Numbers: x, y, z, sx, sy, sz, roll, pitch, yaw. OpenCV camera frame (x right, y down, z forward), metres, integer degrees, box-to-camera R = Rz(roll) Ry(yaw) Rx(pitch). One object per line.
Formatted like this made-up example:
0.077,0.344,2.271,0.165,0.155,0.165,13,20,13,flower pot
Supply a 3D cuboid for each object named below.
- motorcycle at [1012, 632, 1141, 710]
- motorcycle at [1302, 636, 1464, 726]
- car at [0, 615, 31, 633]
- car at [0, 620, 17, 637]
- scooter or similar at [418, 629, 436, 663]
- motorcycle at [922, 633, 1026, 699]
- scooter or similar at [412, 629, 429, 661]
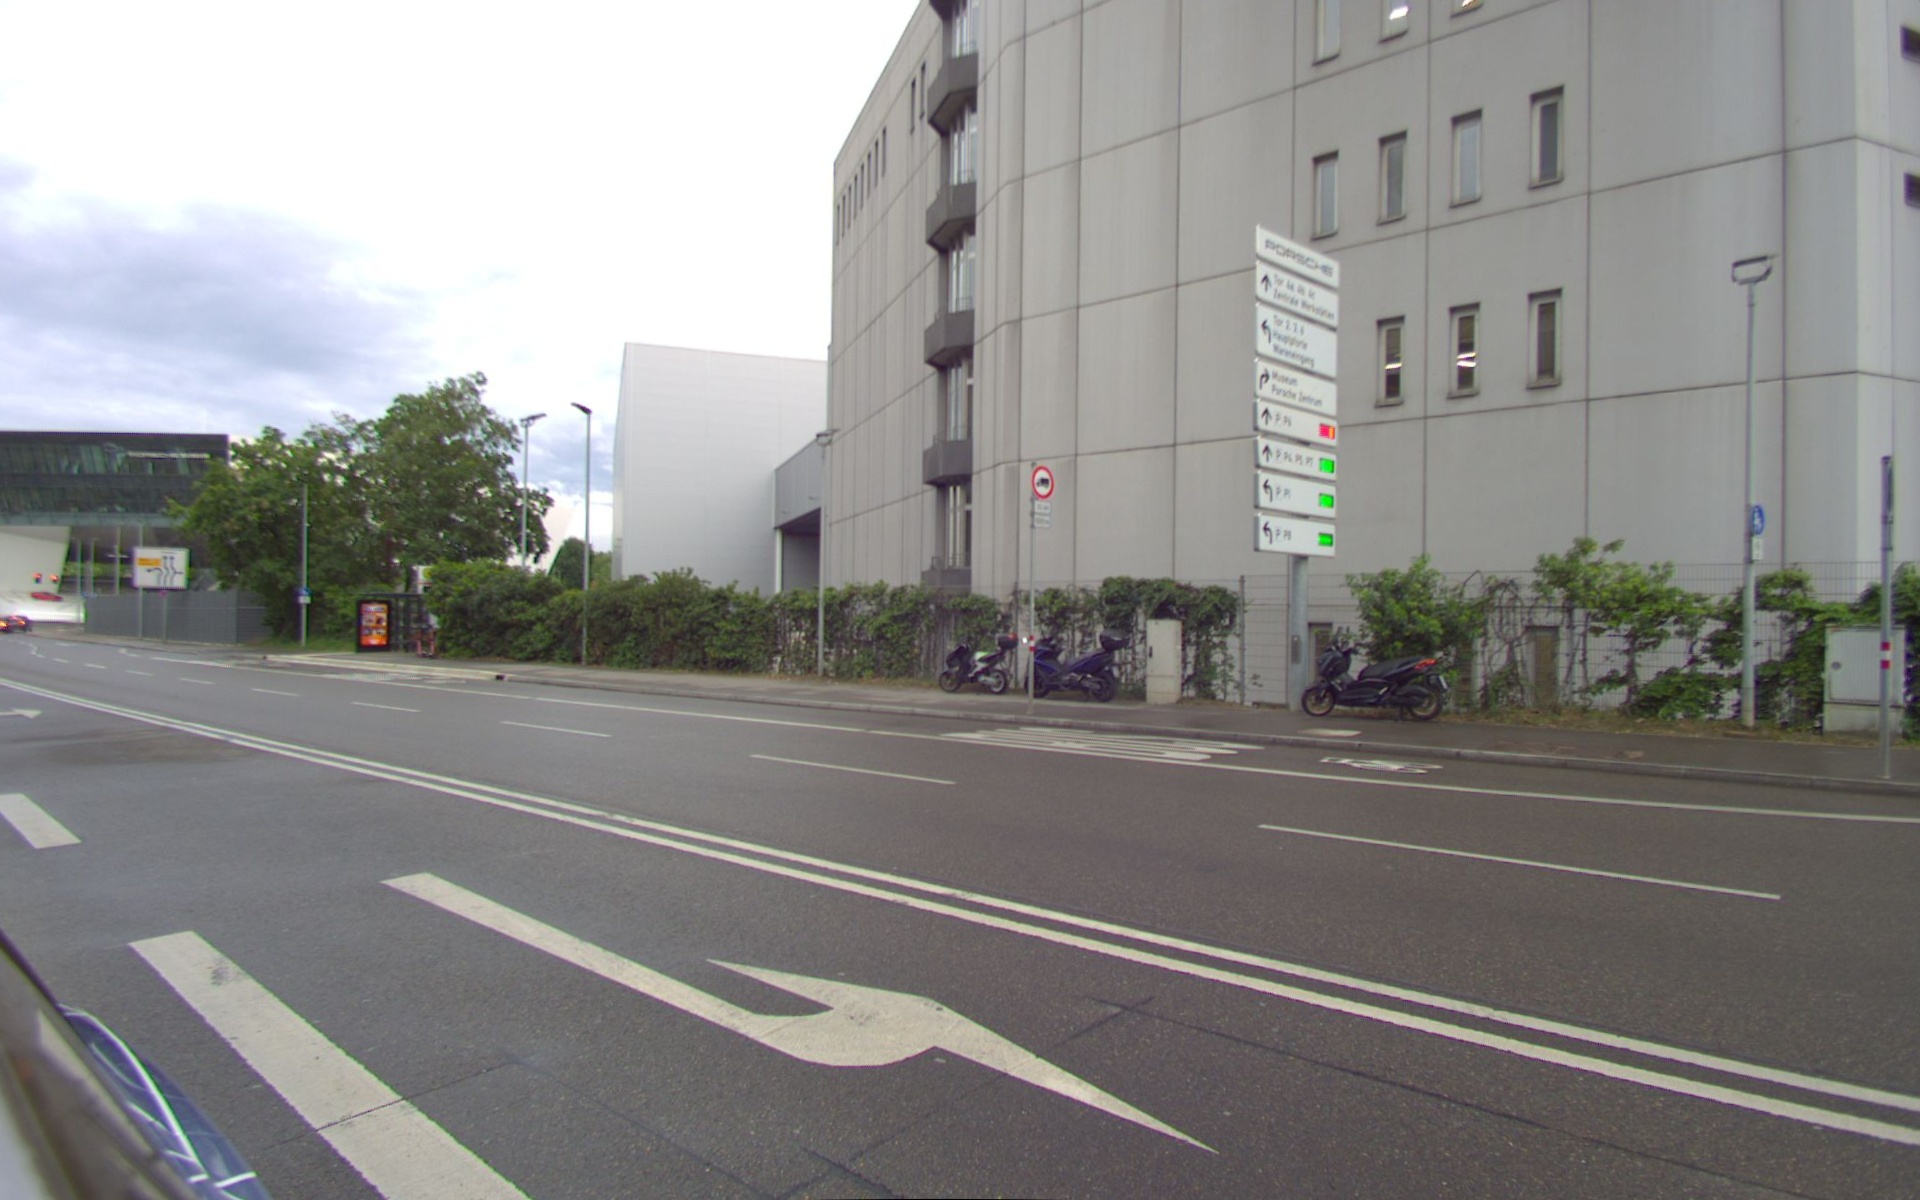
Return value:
2.153,1.282,18.951,2.368,1.358,0.776,-1,-2,40,motorcycle
6.442,1.196,15.499,2.156,1.257,0.777,-1,-2,40,motorcycle
-88.818,2.273,94.776,1.834,1.663,3.799,1,-2,-30,car
-85.018,2.507,89.015,2.233,1.488,4.059,1,-1,-32,car
-19.427,1.672,36.905,0.373,1.190,1.380,1,-2,-36,scooter or similar
0.268,1.325,20.736,2.156,1.260,0.777,-1,-2,40,motorcycle
-20.295,1.686,38.070,0.383,1.189,1.253,1,-2,-36,scooter or similar
